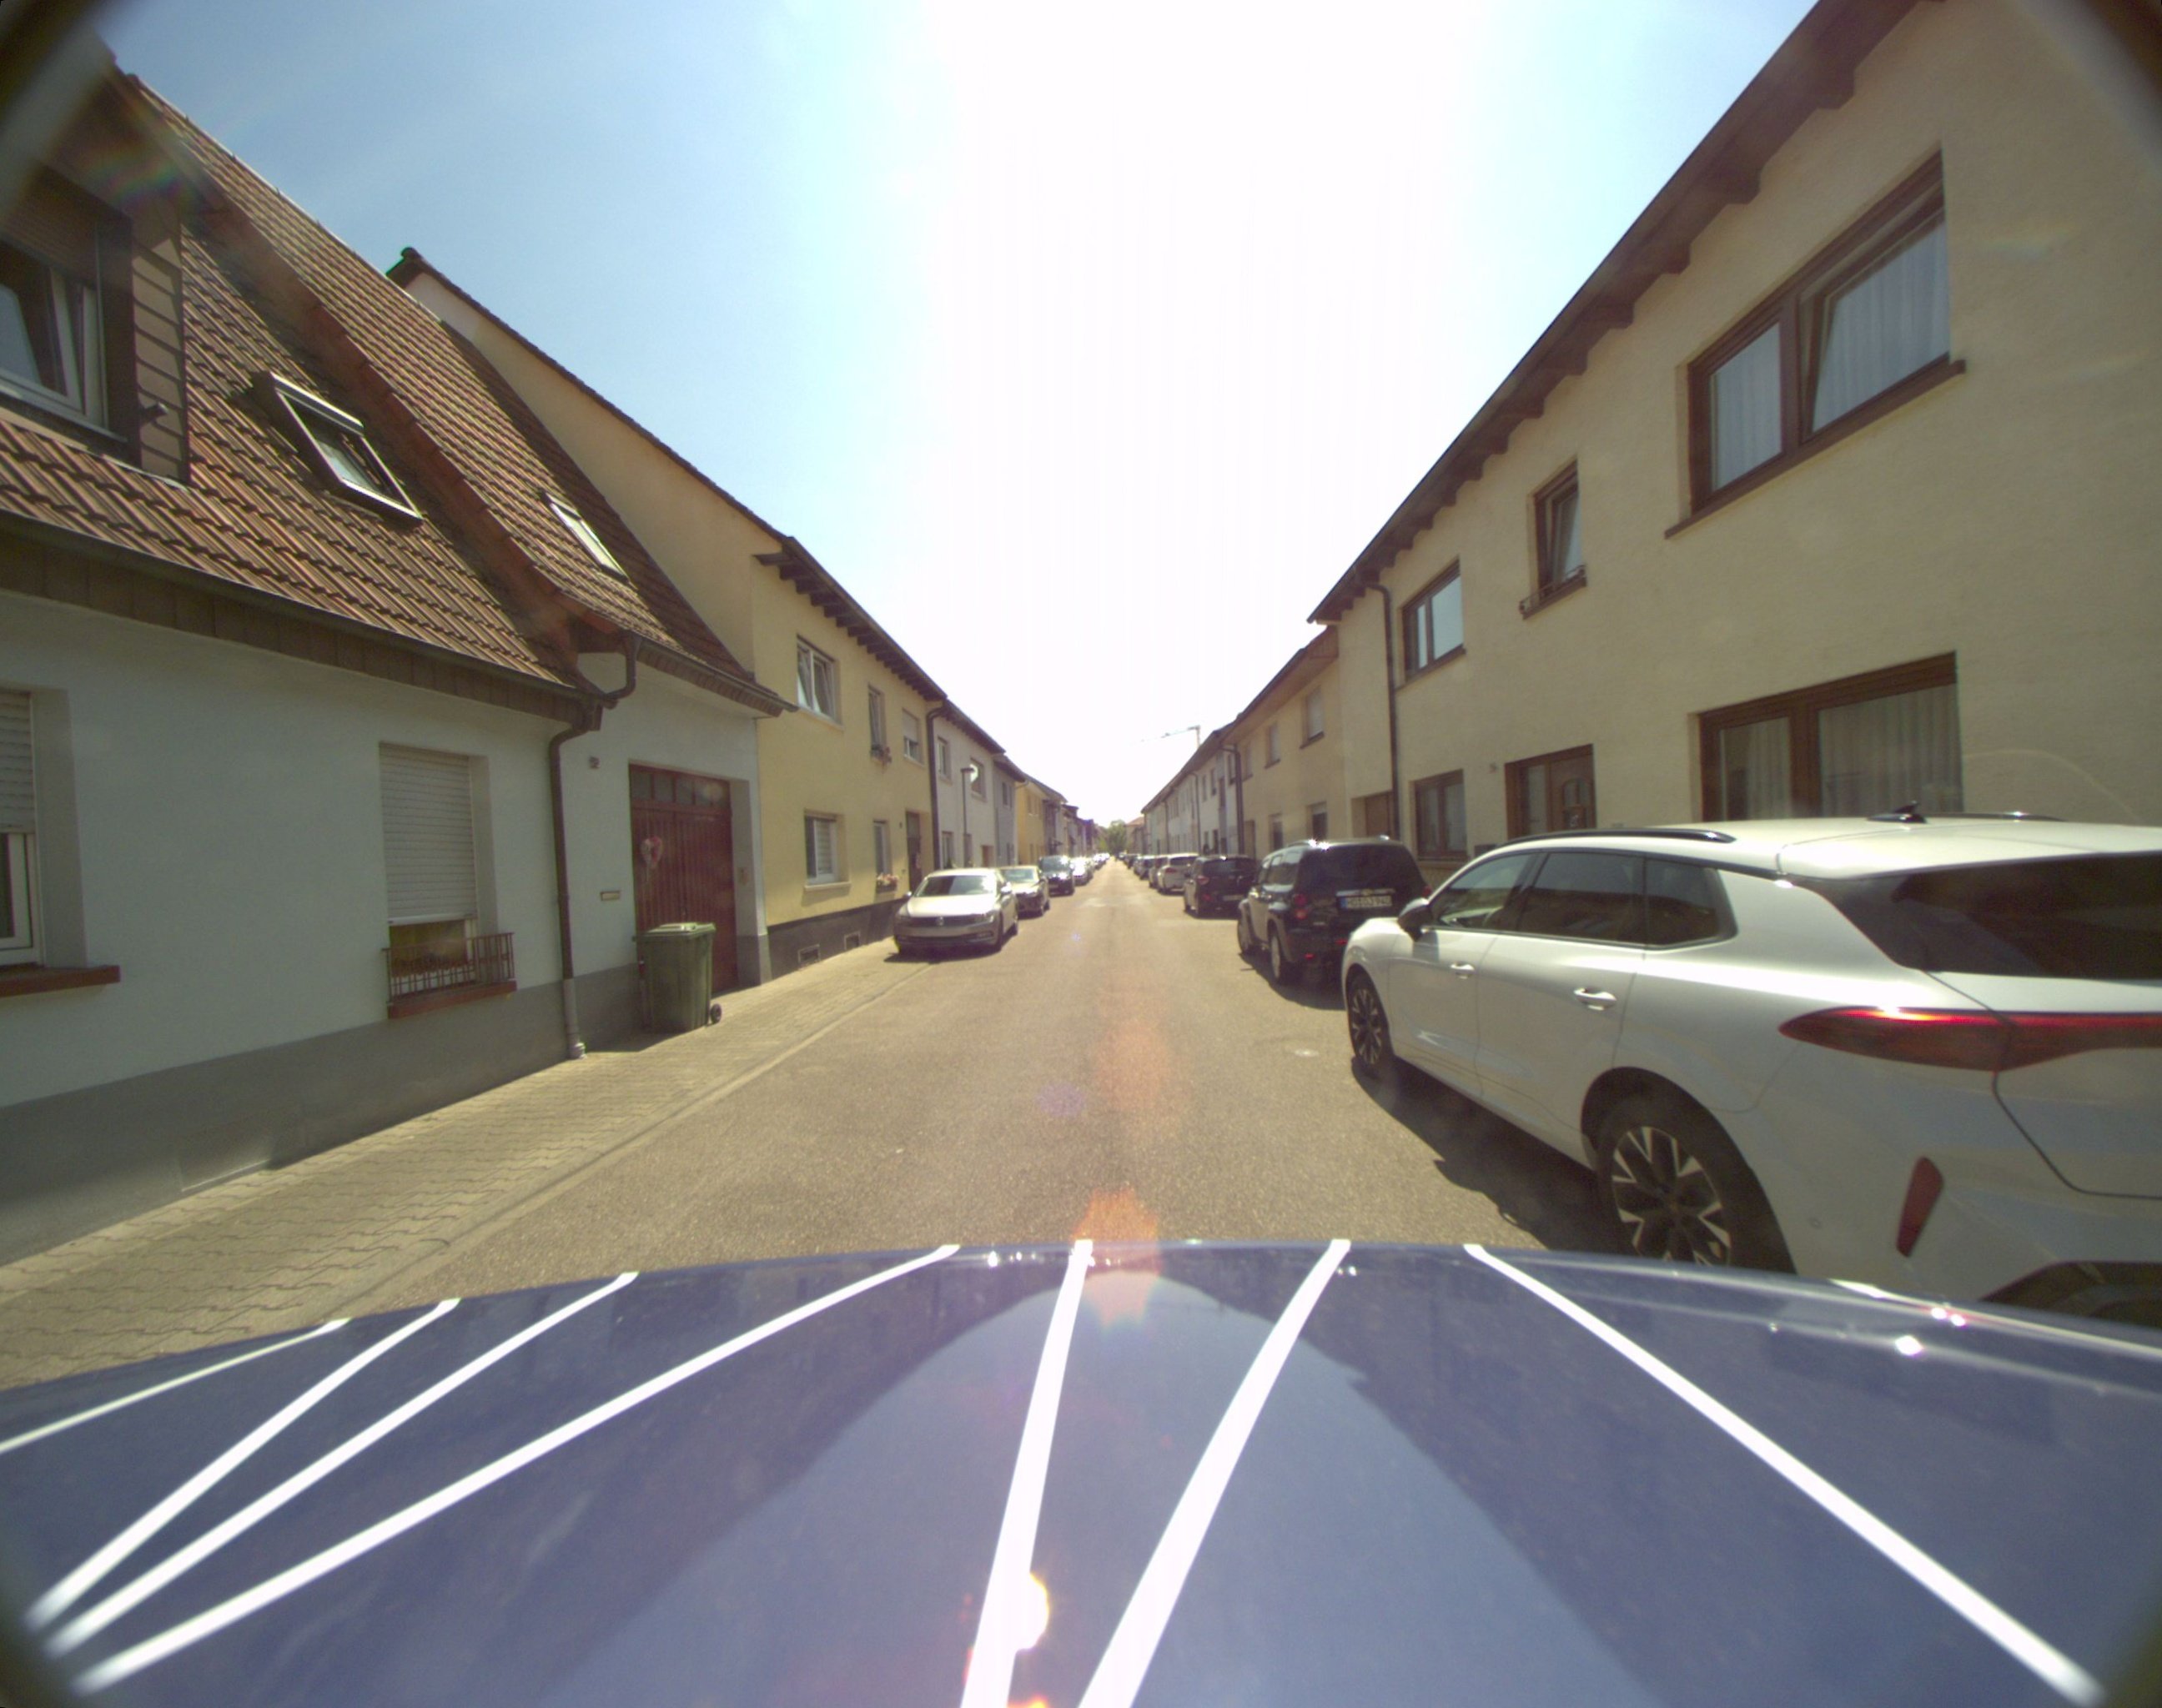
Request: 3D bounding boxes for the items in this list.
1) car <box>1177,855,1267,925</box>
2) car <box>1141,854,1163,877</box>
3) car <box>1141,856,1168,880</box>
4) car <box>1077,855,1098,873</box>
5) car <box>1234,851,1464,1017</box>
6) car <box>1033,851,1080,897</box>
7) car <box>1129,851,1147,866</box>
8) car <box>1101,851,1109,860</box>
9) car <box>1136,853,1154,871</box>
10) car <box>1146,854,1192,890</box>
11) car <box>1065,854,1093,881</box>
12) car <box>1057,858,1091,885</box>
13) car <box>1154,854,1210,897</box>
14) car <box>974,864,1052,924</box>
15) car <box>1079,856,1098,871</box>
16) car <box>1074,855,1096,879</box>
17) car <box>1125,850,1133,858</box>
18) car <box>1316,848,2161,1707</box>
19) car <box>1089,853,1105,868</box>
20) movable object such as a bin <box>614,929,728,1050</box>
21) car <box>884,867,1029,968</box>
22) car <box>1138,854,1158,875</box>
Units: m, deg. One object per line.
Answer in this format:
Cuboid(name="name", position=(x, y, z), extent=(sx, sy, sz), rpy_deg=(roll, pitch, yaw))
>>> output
Cuboid(name="car", position=(3.534, 0.845, 19.648), extent=(1.644, 1.528, 3.942), rpy_deg=(-2, 0, 1))
Cuboid(name="car", position=(4.982, 0.785, 53.741), extent=(1.414, 1.519, 3.025), rpy_deg=(-2, 1, 4))
Cuboid(name="car", position=(4.687, 0.854, 48.907), extent=(1.606, 1.434, 3.214), rpy_deg=(-2, 0, 4))
Cuboid(name="car", position=(0.637, 0.891, 71.036), extent=(1.743, 1.459, 4.045), rpy_deg=(-4, 0, 1))
Cuboid(name="car", position=(3.080, 0.798, 9.609), extent=(1.726, 1.606, 3.990), rpy_deg=(-2, 0, 4))
Cuboid(name="car", position=(-1.017, 0.822, 33.604), extent=(1.701, 1.767, 4.199), rpy_deg=(-3, 1, 2))
Cuboid(name="car", position=(6.466, 0.513, 86.197), extent=(1.818, 1.598, 3.887), rpy_deg=(-2, 0, 2))
Cuboid(name="car", position=(4.460, 0.241, 143.420), extent=(1.414, 1.604, 3.324), rpy_deg=(-2, 0, 3))
Cuboid(name="car", position=(5.395, 0.661, 64.377), extent=(1.414, 1.446, 3.543), rpy_deg=(-2, 0, 4))
Cuboid(name="car", position=(4.140, 0.806, 36.239), extent=(1.667, 1.532, 3.688), rpy_deg=(-3, 0, 0))
Cuboid(name="car", position=(-0.114, 0.853, 49.380), extent=(1.683, 1.575, 3.962), rpy_deg=(-3, 0, 1))
Cuboid(name="car", position=(-0.363, 0.966, 44.055), extent=(1.666, 1.406, 4.248), rpy_deg=(-2, 0, 2))
Cuboid(name="car", position=(4.017, 0.825, 30.798), extent=(1.667, 1.540, 3.941), rpy_deg=(-2, 1, 0))
Cuboid(name="car", position=(-1.888, 1.085, 22.190), extent=(1.701, 1.427, 4.103), rpy_deg=(-4, 0, 1))
Cuboid(name="car", position=(0.790, 0.908, 76.555), extent=(1.761, 1.351, 4.046), rpy_deg=(-4, 0, 2))
Cuboid(name="car", position=(0.321, 0.917, 54.985), extent=(1.403, 1.518, 3.398), rpy_deg=(-4, 0, 2))
Cuboid(name="car", position=(8.476, 0.013, 134.134), extent=(1.414, 1.389, 3.324), rpy_deg=(-2, 0, 3))
Cuboid(name="car", position=(2.653, 0.804, 3.511), extent=(1.778, 1.606, 4.348), rpy_deg=(-2, 0, 0))
Cuboid(name="car", position=(1.933, 0.760, 89.430), extent=(1.736, 1.502, 3.624), rpy_deg=(-4, 0, 3))
Cuboid(name="movable object such as a bin", position=(-4.157, 1.351, 7.756), extent=(0.660, 1.065, 0.813), rpy_deg=(-3, 0, 1))
Cuboid(name="car", position=(-2.220, 1.088, 14.892), extent=(1.843, 1.440, 4.776), rpy_deg=(-4, 0, 1))
Cuboid(name="car", position=(5.159, 0.788, 58.938), extent=(1.414, 1.446, 3.462), rpy_deg=(-2, 0, 4))
